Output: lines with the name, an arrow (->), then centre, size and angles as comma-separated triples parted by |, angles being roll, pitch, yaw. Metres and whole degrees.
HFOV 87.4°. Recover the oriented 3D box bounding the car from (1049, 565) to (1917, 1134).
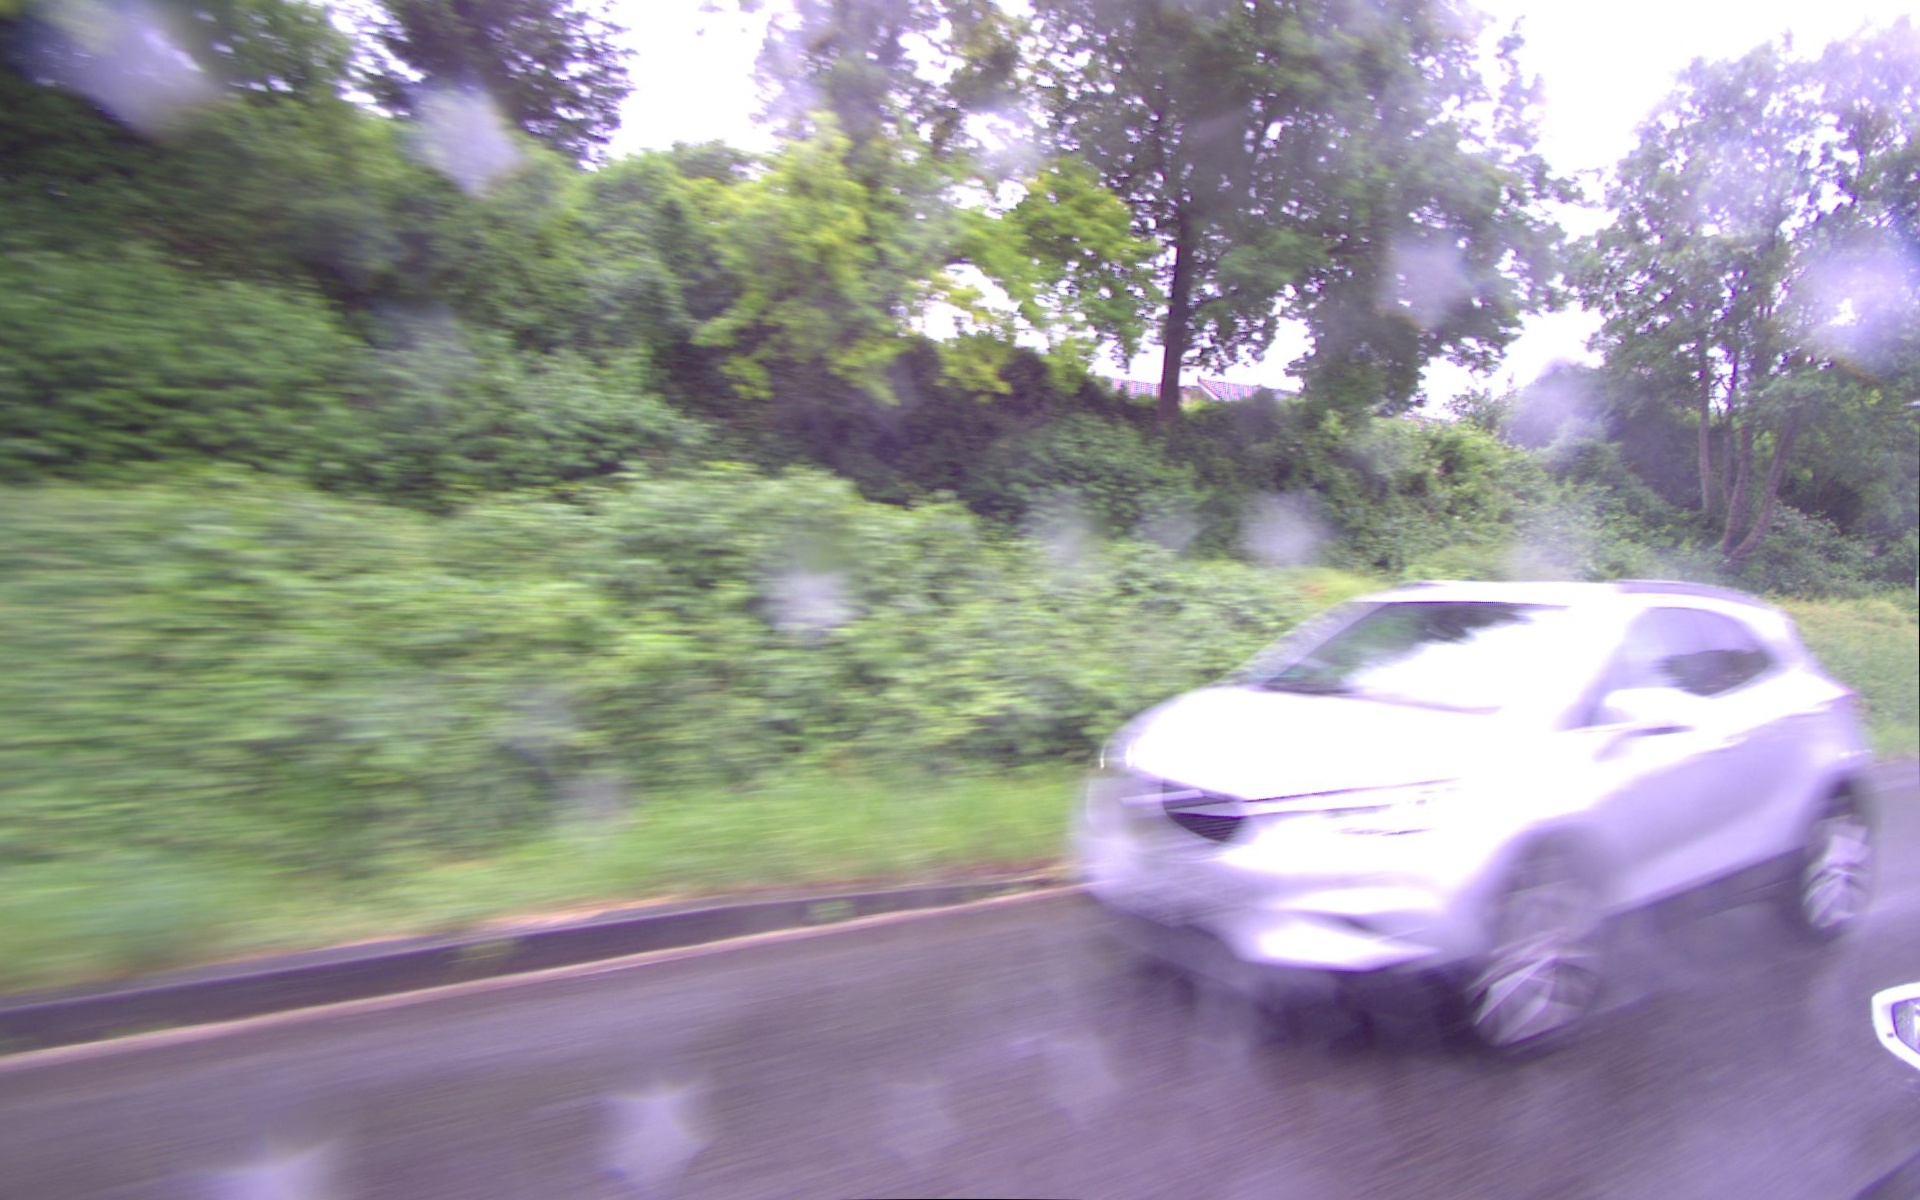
car -> 2.564, 0.726, 4.678 | 4.041, 1.633, 1.735 | 1, 1, -31
